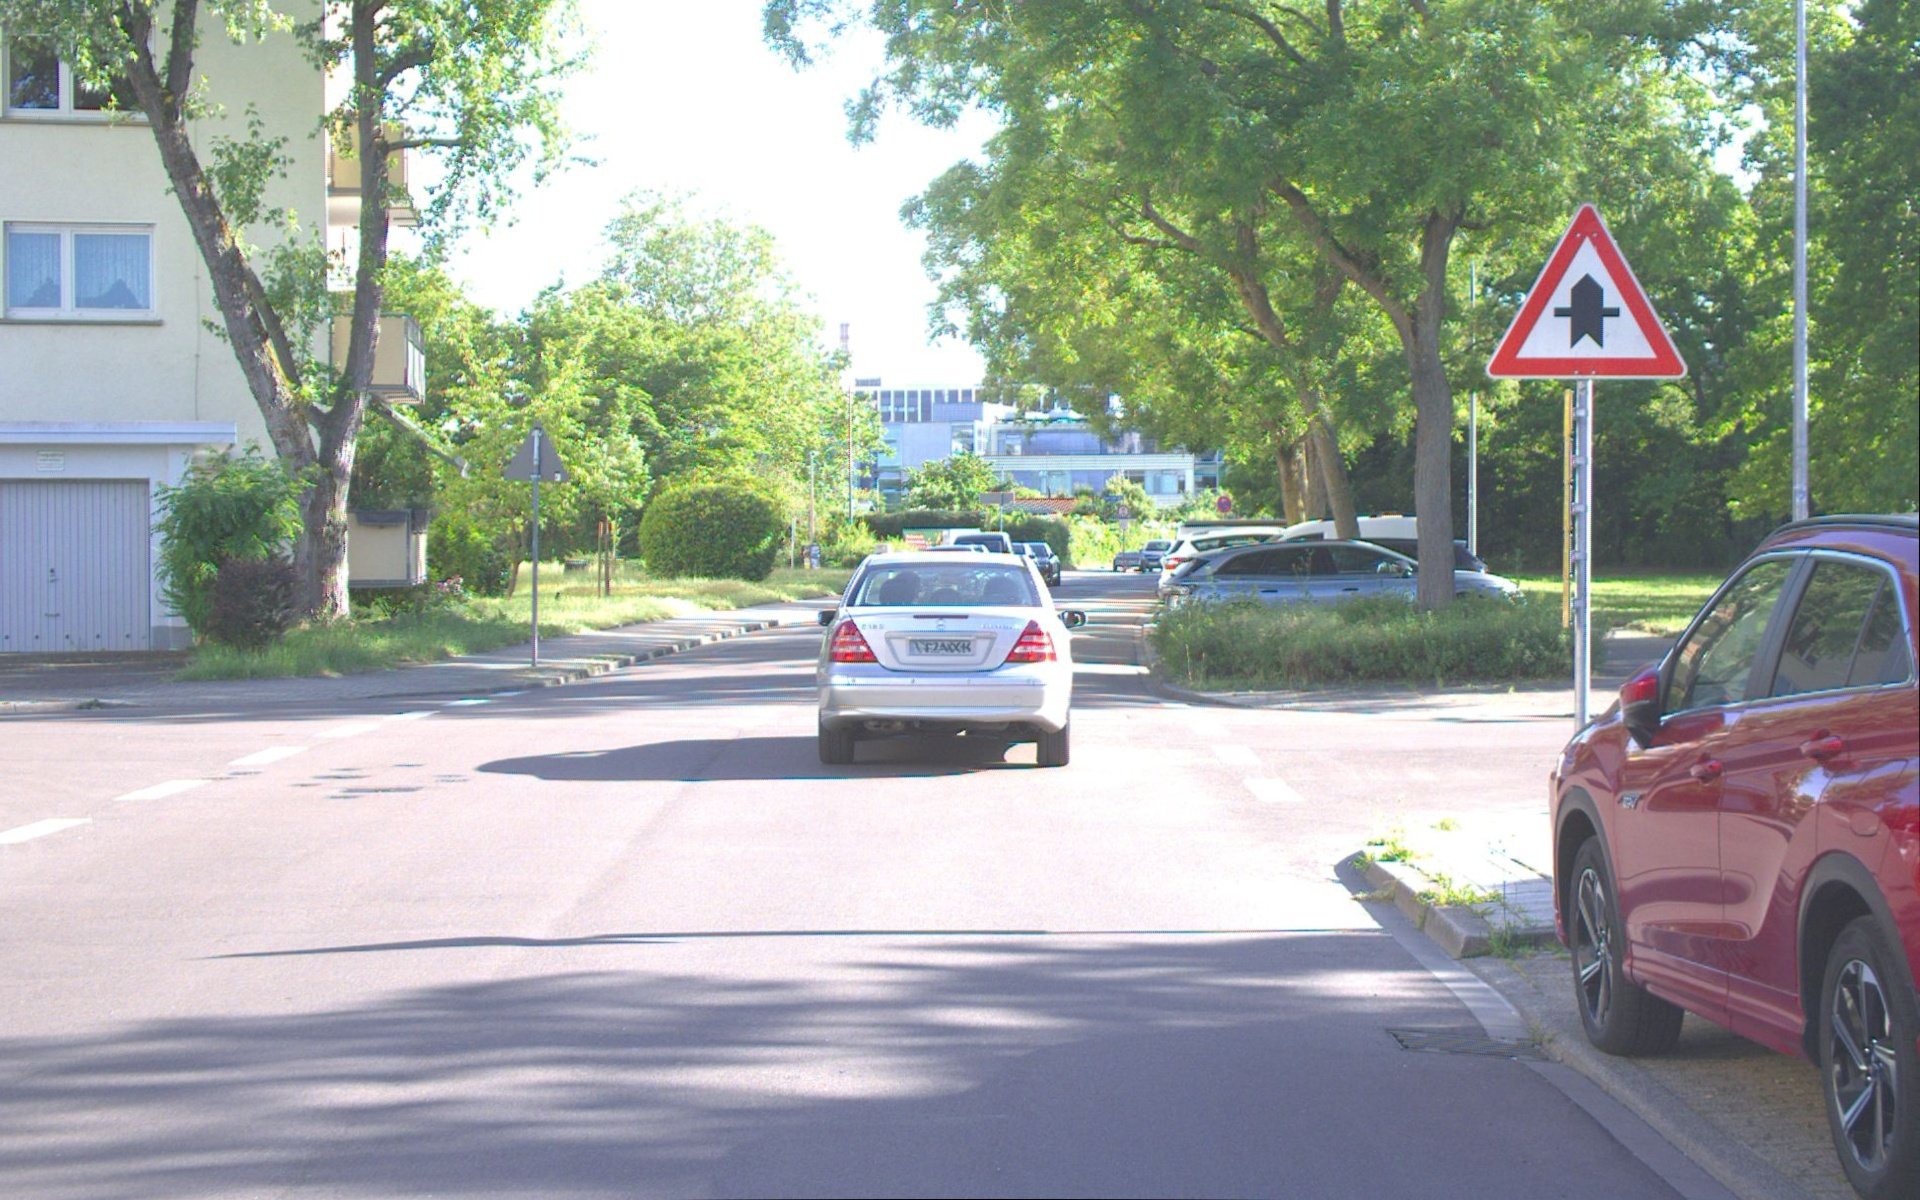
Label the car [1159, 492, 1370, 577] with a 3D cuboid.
[{"bbox_3d":[7.670,-1.643,86.538,5.218,2.052,2.000,0,1,6],"label":"car"}]

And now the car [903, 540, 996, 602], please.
[{"bbox_3d":[-0.251,-0.766,89.373,1.913,1.485,3.836,-3,1,6],"label":"car"}]

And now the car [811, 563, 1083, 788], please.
[{"bbox_3d":[-0.104,0.473,23.686,1.733,1.429,3.438,0,0,-1],"label":"car"}]

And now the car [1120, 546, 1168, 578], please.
[{"bbox_3d":[8.798,-1.822,164.195,1.894,1.497,3.655,0,1,9],"label":"car"}]

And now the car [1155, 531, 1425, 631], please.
[{"bbox_3d":[6.112,-0.358,64.013,4.885,1.717,2.000,-1,1,4],"label":"car"}]

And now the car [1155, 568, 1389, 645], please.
[{"bbox_3d":[6.705,0.124,74.218,4.884,1.622,2.000,0,1,1],"label":"car"}]

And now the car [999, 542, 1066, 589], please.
[{"bbox_3d":[2.422,-1.160,114.442,1.750,1.515,4.192,-1,1,8],"label":"car"}]

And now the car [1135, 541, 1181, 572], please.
[{"bbox_3d":[9.948,-2.186,172.401,1.894,1.497,3.655,0,1,9],"label":"car"}]

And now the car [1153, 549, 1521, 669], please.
[{"bbox_3d":[5.051,0.105,46.514,4.782,1.543,2.011,0,1,1],"label":"car"}]

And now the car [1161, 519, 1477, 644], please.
[{"bbox_3d":[5.869,-0.319,56.568,4.884,1.917,2.000,-1,1,-3],"label":"car"}]

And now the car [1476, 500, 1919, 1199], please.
[{"bbox_3d":[2.818,0.566,9.500,1.774,1.674,4.645,-3,1,-3],"label":"car"}]

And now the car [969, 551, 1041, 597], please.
[{"bbox_3d":[1.436,-0.821,107.939,1.751,1.325,3.449,-3,1,9],"label":"car"}]
